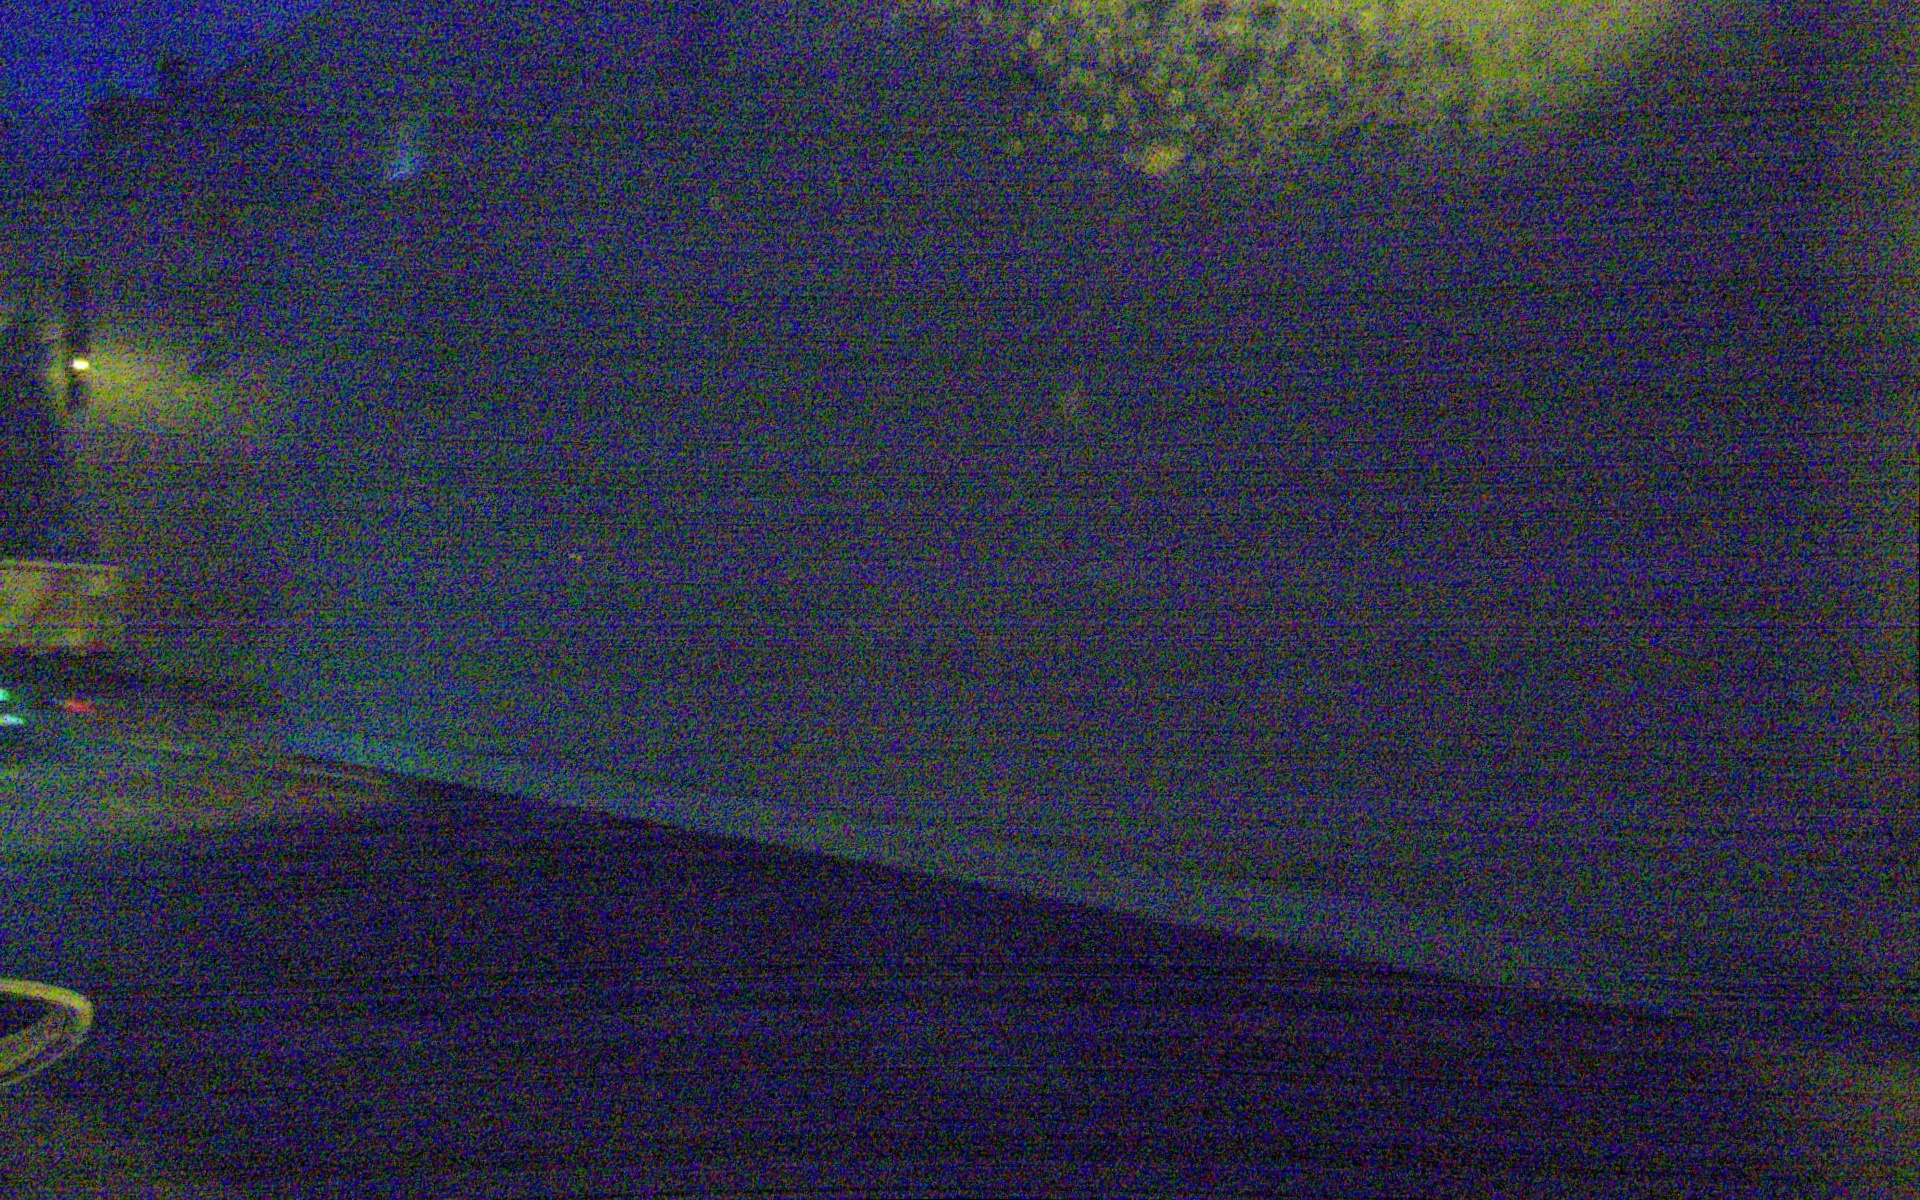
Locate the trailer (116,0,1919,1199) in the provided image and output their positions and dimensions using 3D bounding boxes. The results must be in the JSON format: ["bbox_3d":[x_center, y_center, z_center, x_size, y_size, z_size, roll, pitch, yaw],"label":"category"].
[{"bbox_3d":[-0.572,-0.172,4.657,7.692,3.509,2.684,-1,-1,30],"label":"trailer"}]

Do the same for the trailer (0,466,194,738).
[{"bbox_3d":[-14.243,0.074,13.139,10.562,2.786,3.177,-1,1,32],"label":"trailer"}]
